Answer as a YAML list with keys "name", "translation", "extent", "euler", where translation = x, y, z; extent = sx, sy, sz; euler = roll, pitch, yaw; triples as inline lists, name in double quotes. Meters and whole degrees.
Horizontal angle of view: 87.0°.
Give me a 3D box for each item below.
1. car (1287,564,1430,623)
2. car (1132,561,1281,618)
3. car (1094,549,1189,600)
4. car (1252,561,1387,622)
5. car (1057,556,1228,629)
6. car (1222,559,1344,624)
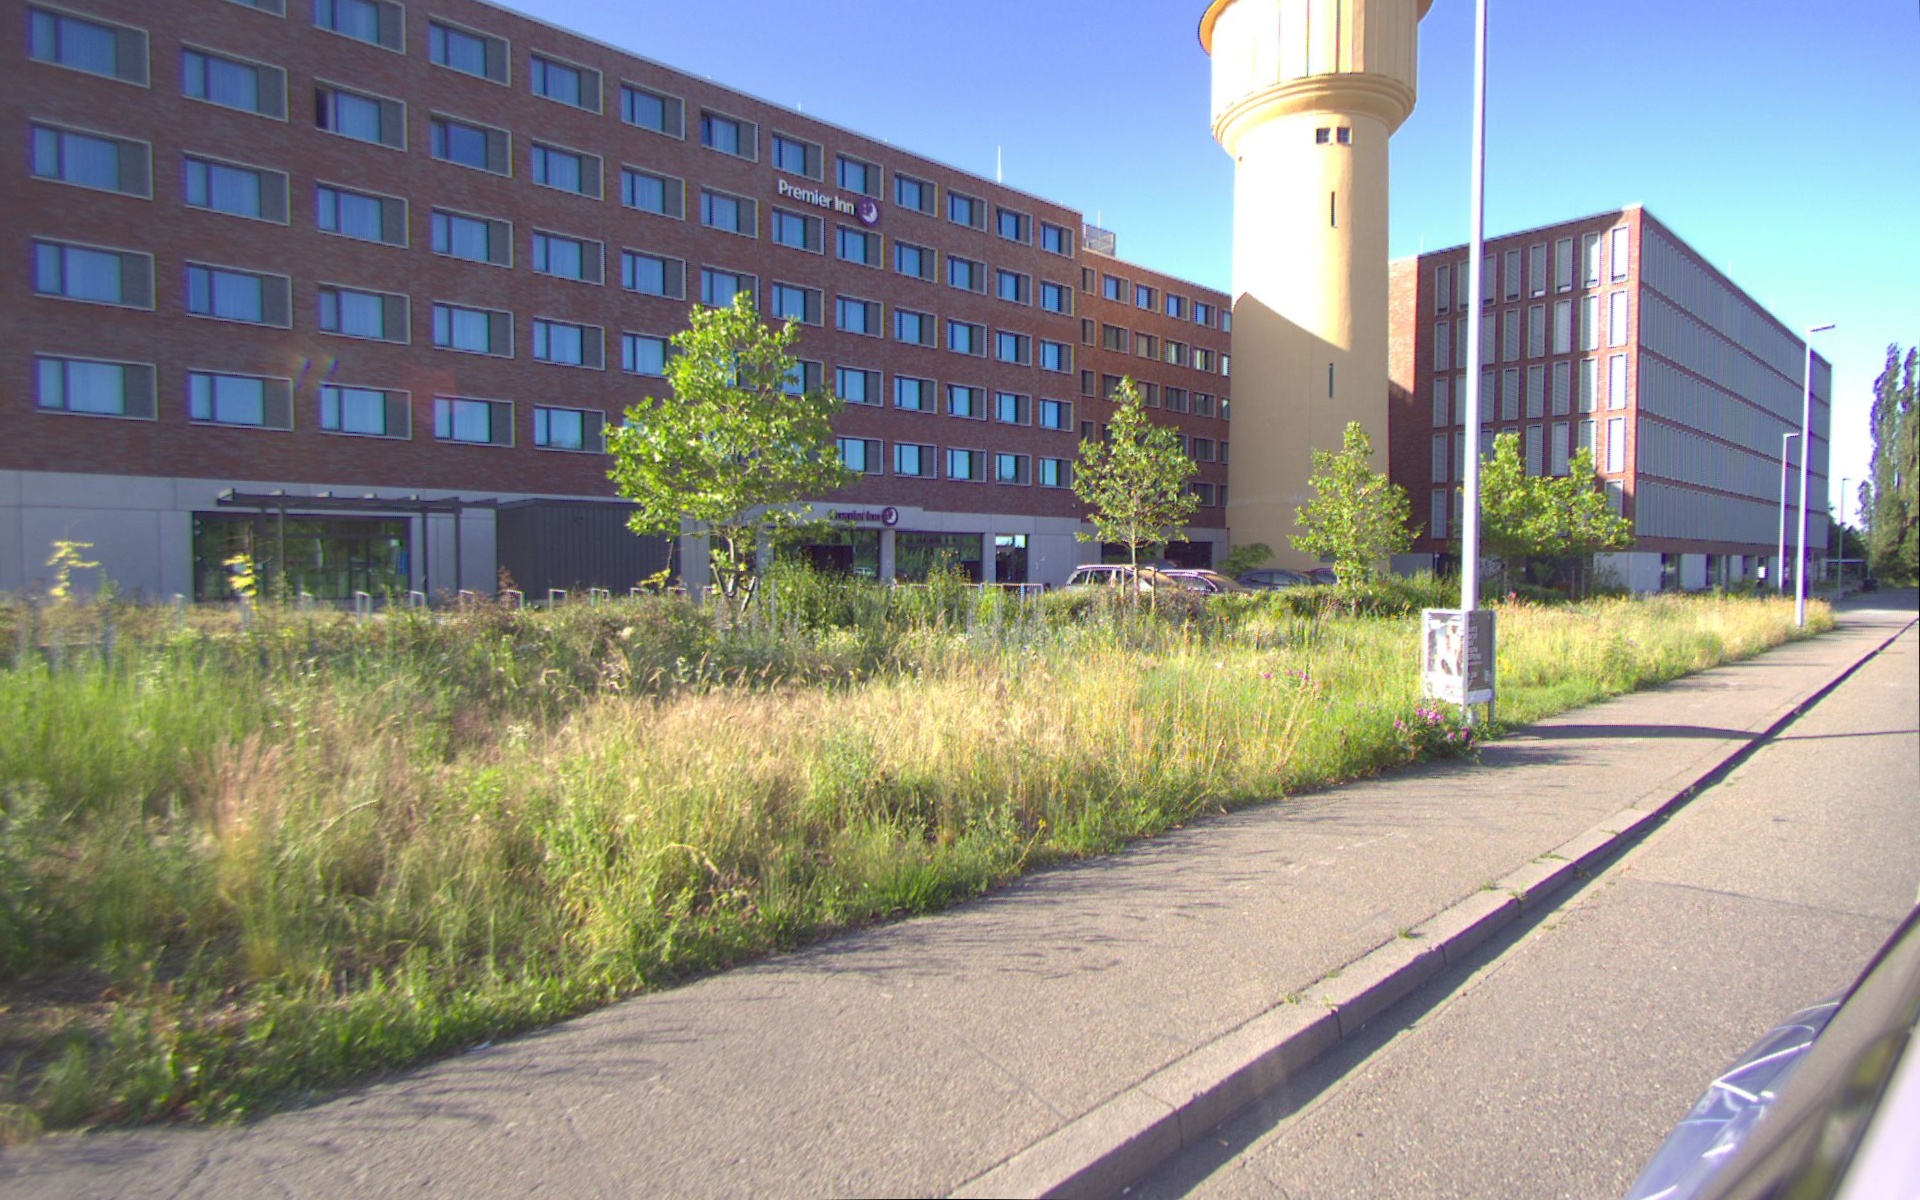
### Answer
- name: "car"
  translation: [14.608, -0.278, 37.289]
  extent: [1.965, 2.038, 4.525]
  euler: [-1, 2, -41]
- name: "car"
  translation: [7.210, -0.355, 29.895]
  extent: [1.802, 1.569, 3.996]
  euler: [-1, 2, -39]
- name: "car"
  translation: [8.658, -1.197, 48.030]
  extent: [4.854, 2.292, 1.865]
  euler: [-1, 2, -43]
- name: "car"
  translation: [12.426, -0.342, 35.145]
  extent: [1.964, 2.005, 3.996]
  euler: [-1, 2, -39]
- name: "car"
  translation: [4.940, -0.259, 27.779]
  extent: [1.966, 1.851, 4.324]
  euler: [-1, 2, -42]
- name: "car"
  translation: [10.759, -0.315, 33.875]
  extent: [1.805, 2.046, 3.478]
  euler: [-1, 2, -42]
